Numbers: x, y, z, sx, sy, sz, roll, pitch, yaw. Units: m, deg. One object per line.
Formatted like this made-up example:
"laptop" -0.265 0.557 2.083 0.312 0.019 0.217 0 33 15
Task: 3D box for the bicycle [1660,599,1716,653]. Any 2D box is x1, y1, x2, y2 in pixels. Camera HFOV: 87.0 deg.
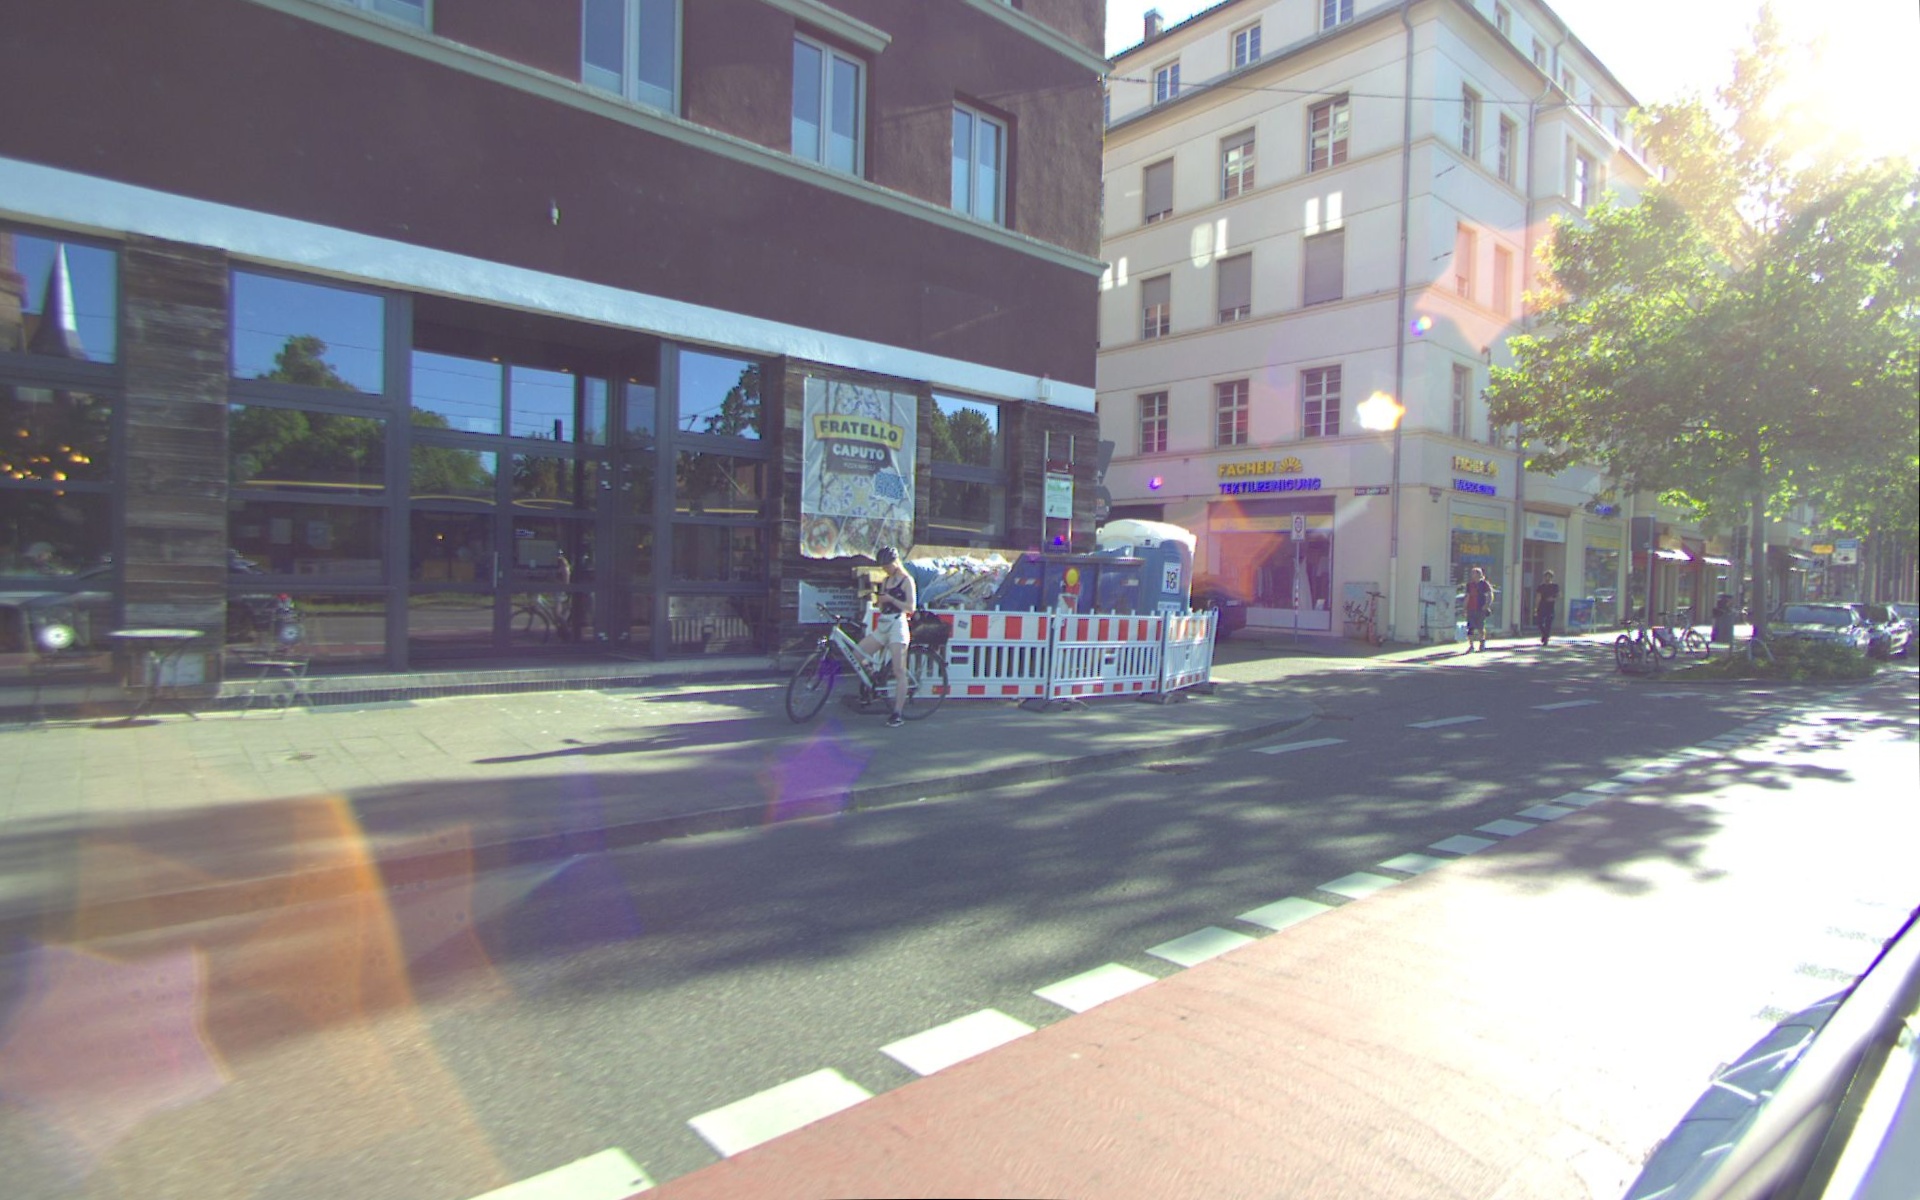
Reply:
"bicycle" 15.900 0.551 22.096 1.658 1.150 0.489 0 1 -36

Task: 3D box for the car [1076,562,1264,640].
"car" 5.356 0.020 26.270 1.965 1.839 4.531 0 0 -41

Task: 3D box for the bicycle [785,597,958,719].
"bicycle" -0.826 0.533 9.715 1.650 1.099 0.319 0 1 -29

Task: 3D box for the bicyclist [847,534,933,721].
"bicyclist" -0.672 0.247 9.671 0.585 1.711 0.603 1 1 -30

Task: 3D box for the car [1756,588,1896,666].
"car" 19.662 0.535 22.909 4.358 1.574 1.792 0 2 -41

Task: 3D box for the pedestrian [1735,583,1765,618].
"pedestrian" 33.164 0.013 42.484 0.842 1.386 0.787 0 2 -40

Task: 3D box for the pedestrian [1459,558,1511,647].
"pedestrian" 11.633 0.038 22.440 0.848 1.923 0.715 0 2 -41

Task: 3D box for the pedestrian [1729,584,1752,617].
"pedestrian" 32.305 0.024 41.886 0.806 1.349 0.536 0 2 -41

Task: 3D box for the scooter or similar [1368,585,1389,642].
"scooter or similar" 9.711 0.302 23.501 0.377 1.302 1.199 0 0 19

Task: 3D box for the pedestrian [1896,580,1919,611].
"pedestrian" 63.523 -0.284 67.796 1.028 2.039 1.090 0 0 -40

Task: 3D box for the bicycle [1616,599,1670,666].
"bicycle" 13.006 0.585 19.252 0.580 1.177 2.204 -1 0 41

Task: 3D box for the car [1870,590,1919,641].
"car" 30.825 0.495 32.633 3.735 1.520 1.698 0 4 -41

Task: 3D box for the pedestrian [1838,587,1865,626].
"pedestrian" 41.307 0.287 46.889 0.901 1.726 0.860 0 1 -43

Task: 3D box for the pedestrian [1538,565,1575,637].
"pedestrian" 14.726 0.019 24.978 0.757 1.732 0.559 0 1 -41

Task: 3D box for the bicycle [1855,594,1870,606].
"bicycle" 63.393 0.018 71.073 1.634 0.783 0.550 -1 3 -42

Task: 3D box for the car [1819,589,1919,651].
"car" 25.557 0.499 28.039 4.514 1.528 2.042 0 1 -41

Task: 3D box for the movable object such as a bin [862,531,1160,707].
"movable object such as a bin" 0.726 0.183 12.662 1.945 1.866 3.425 2 1 43
